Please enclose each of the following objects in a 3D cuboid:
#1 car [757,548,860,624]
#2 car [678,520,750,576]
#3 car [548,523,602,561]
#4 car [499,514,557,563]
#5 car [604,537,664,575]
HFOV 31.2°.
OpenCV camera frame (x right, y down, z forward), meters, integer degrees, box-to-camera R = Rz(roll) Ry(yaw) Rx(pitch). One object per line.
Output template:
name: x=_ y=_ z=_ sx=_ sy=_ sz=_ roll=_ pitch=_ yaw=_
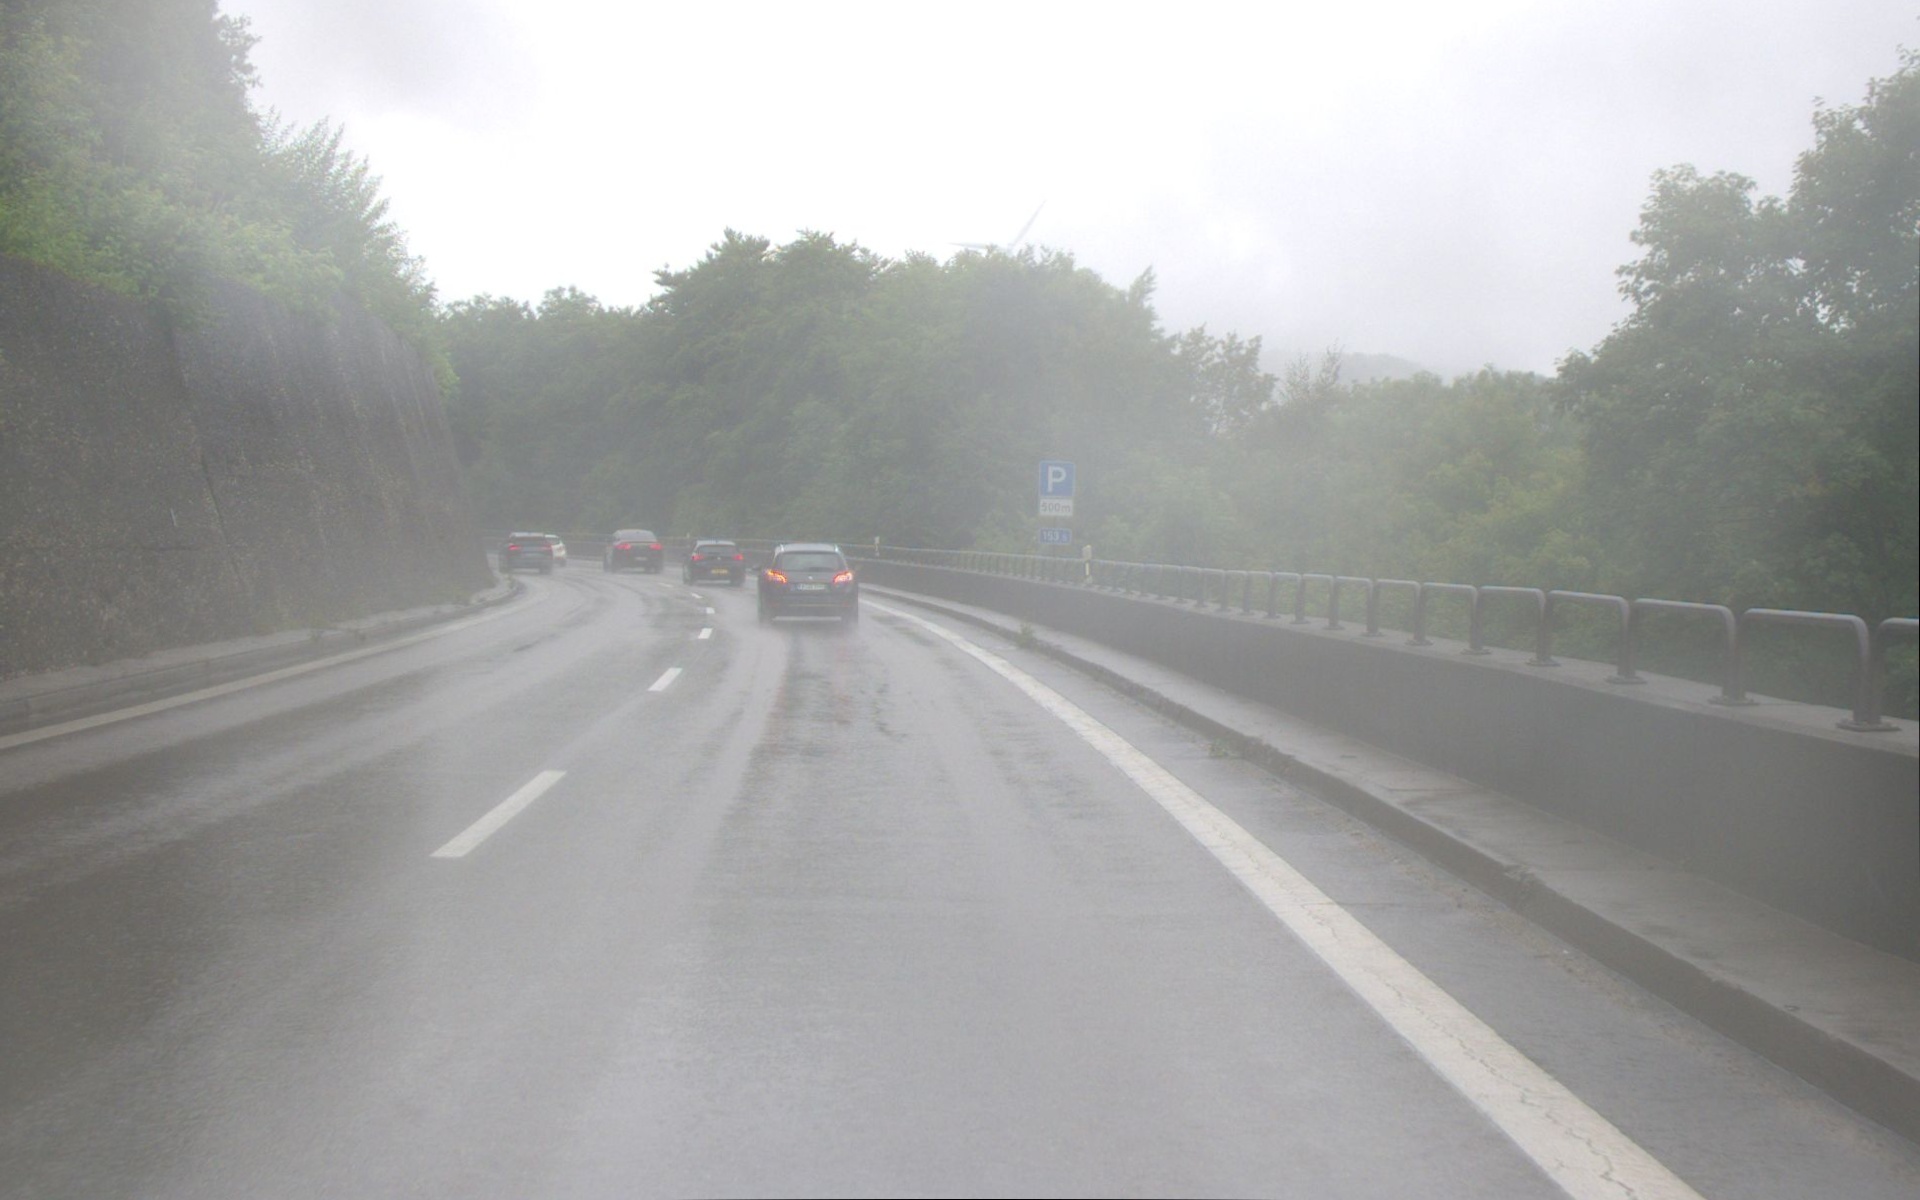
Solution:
car: x=-2.734 y=-0.271 z=62.700 sx=1.800 sy=1.303 sz=4.000 roll=1 pitch=1 yaw=-2
car: x=-7.914 y=-1.654 z=110.456 sx=1.993 sy=1.744 sz=4.001 roll=1 pitch=1 yaw=-8
car: x=-16.957 y=-2.566 z=151.226 sx=1.993 sy=1.657 sz=4.001 roll=0 pitch=1 yaw=-12
car: x=-17.068 y=-2.419 z=135.747 sx=1.993 sy=1.897 sz=4.001 roll=1 pitch=1 yaw=-11
car: x=-13.000 y=-1.748 z=136.807 sx=1.800 sy=1.462 sz=4.001 roll=0 pitch=1 yaw=-14
